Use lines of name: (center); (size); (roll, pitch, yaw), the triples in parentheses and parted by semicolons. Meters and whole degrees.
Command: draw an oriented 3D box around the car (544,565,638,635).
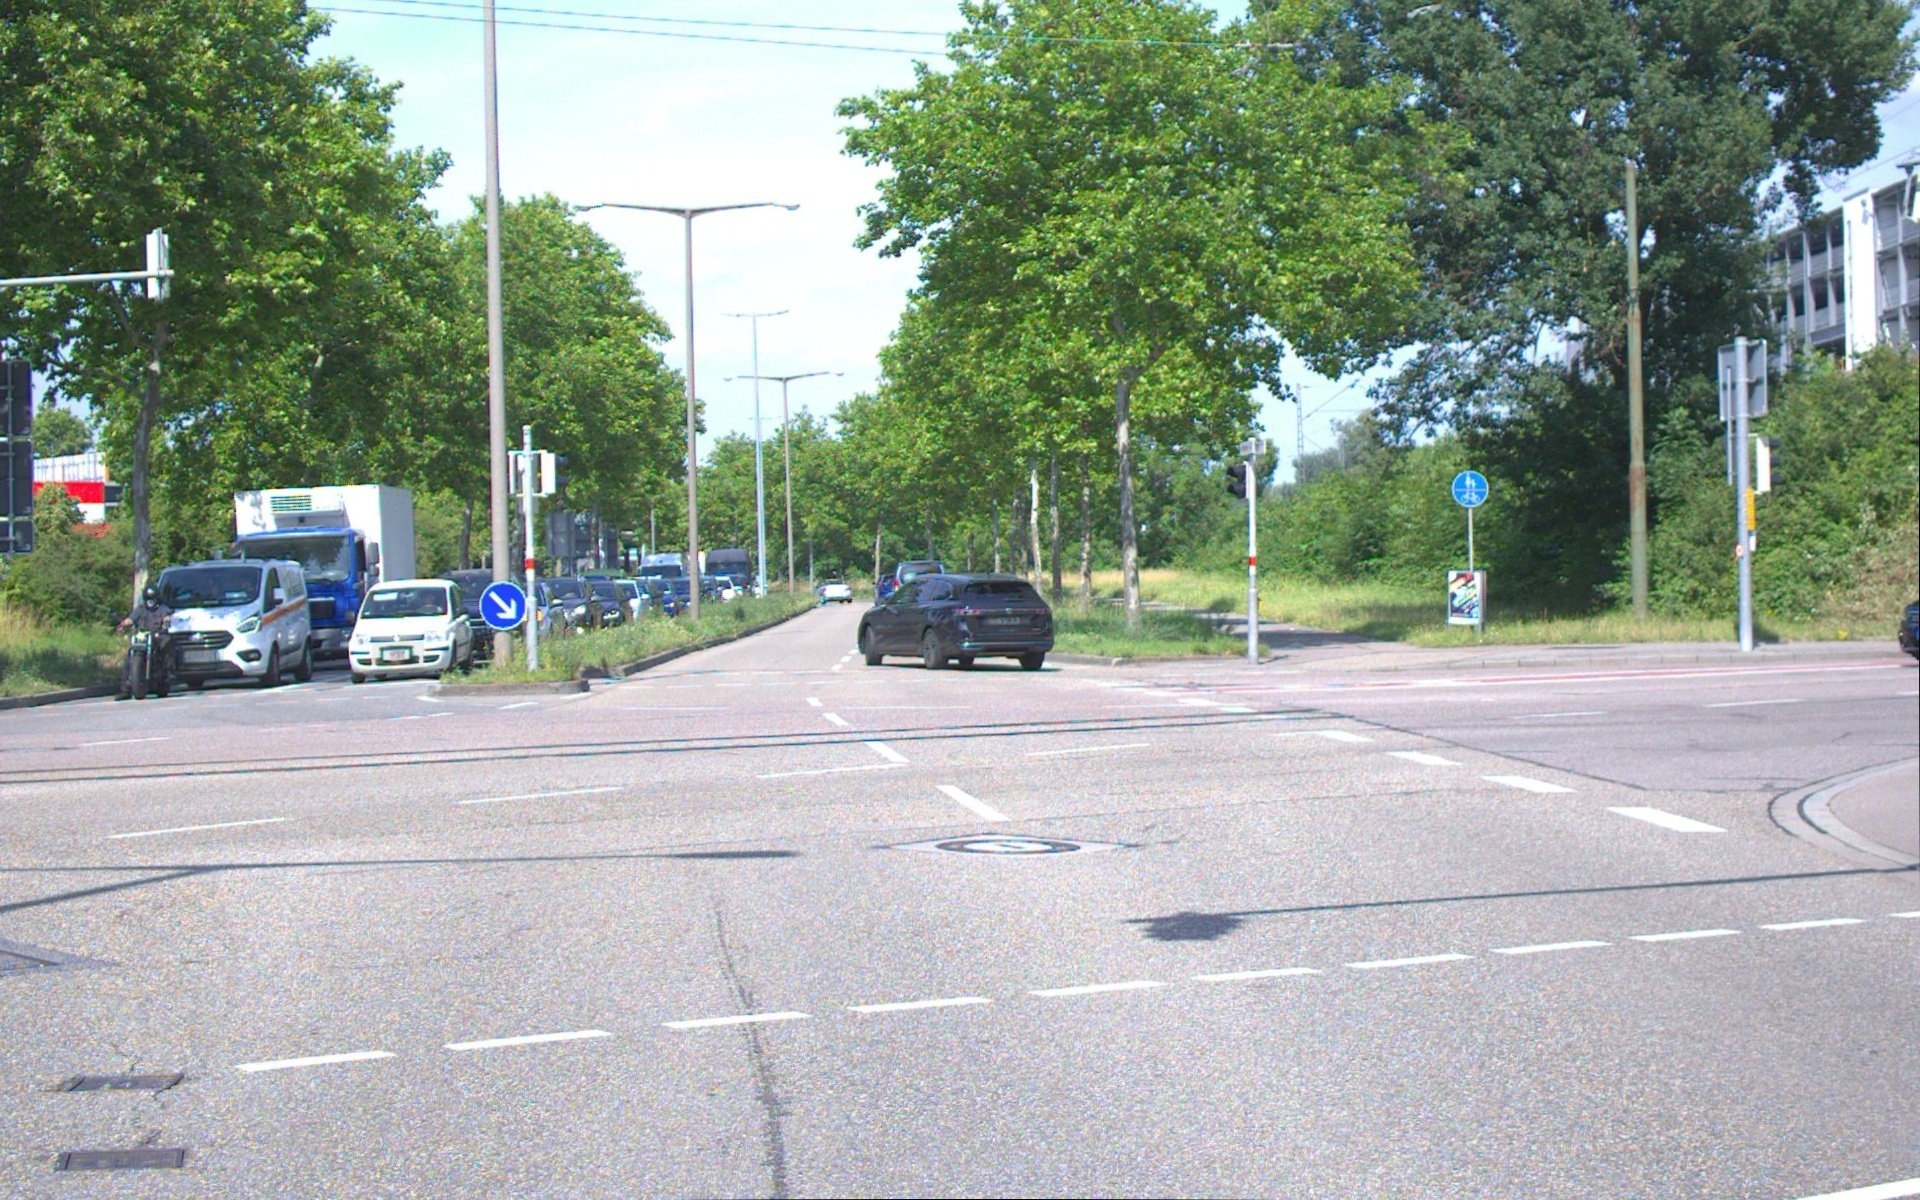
car: (-8.469, -0.021, 79.253); (1.689, 1.468, 4.218); (-3, 1, -1)

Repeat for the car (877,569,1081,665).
car: (0.244, 0.227, 53.315); (1.833, 1.386, 4.266); (-1, 1, -19)

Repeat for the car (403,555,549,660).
car: (-8.186, 0.134, 58.464); (1.820, 1.641, 4.694); (-2, 0, -1)

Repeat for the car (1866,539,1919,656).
car: (13.674, -0.074, 43.527); (4.208, 1.438, 1.790); (-1, 1, -30)

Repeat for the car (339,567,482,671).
car: (-8.370, 0.264, 52.620); (1.593, 1.472, 3.729); (-2, 1, -1)

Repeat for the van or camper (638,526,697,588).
van or camper: (-12.559, -1.860, 147.893); (2.015, 2.579, 5.517); (-2, 1, -1)

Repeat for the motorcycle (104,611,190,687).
motorcycle: (-11.375, 0.675, 48.175); (0.688, 0.988, 2.217); (-1, 1, -1)

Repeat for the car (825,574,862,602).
car: (-6.575, -0.668, 193.955); (1.802, 1.505, 3.815); (-1, 1, -6)

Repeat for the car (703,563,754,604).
car: (-8.864, -0.646, 131.927); (1.689, 1.505, 3.815); (-2, 1, -1)

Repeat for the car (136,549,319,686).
car: (-11.284, 0.220, 53.270); (1.976, 1.992, 5.032); (-1, 1, -3)

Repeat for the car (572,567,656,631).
car: (-8.515, -0.052, 84.890); (1.689, 1.467, 3.815); (-2, 1, -1)

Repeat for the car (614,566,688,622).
car: (-8.745, -0.181, 97.586); (1.784, 1.484, 4.212); (-2, 1, -2)

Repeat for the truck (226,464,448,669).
truck: (-11.411, -0.655, 63.580); (2.804, 3.459, 6.692); (-3, 1, -1)

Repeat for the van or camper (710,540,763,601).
van or camper: (-9.128, -1.192, 140.728); (1.938, 2.360, 5.398); (-2, 0, -2)

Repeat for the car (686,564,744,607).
car: (-8.896, -0.540, 125.214); (1.783, 1.454, 4.472); (-2, 1, -1)

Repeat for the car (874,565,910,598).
car: (-3.289, -0.921, 167.185); (1.689, 1.505, 3.815); (-2, 1, -1)

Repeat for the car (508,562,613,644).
car: (-8.330, 0.036, 71.979); (1.689, 1.581, 4.240); (-2, 1, -1)

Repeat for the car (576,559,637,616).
car: (-12.219, -0.435, 118.923); (1.689, 1.852, 4.036); (-2, 0, -1)

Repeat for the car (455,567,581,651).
car: (-8.361, 0.149, 65.399); (1.796, 1.463, 4.523); (-2, 1, 0)

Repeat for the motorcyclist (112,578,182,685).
motorcyclist: (-11.412, 0.430, 48.266); (0.743, 1.465, 0.987); (-1, 1, -1)
